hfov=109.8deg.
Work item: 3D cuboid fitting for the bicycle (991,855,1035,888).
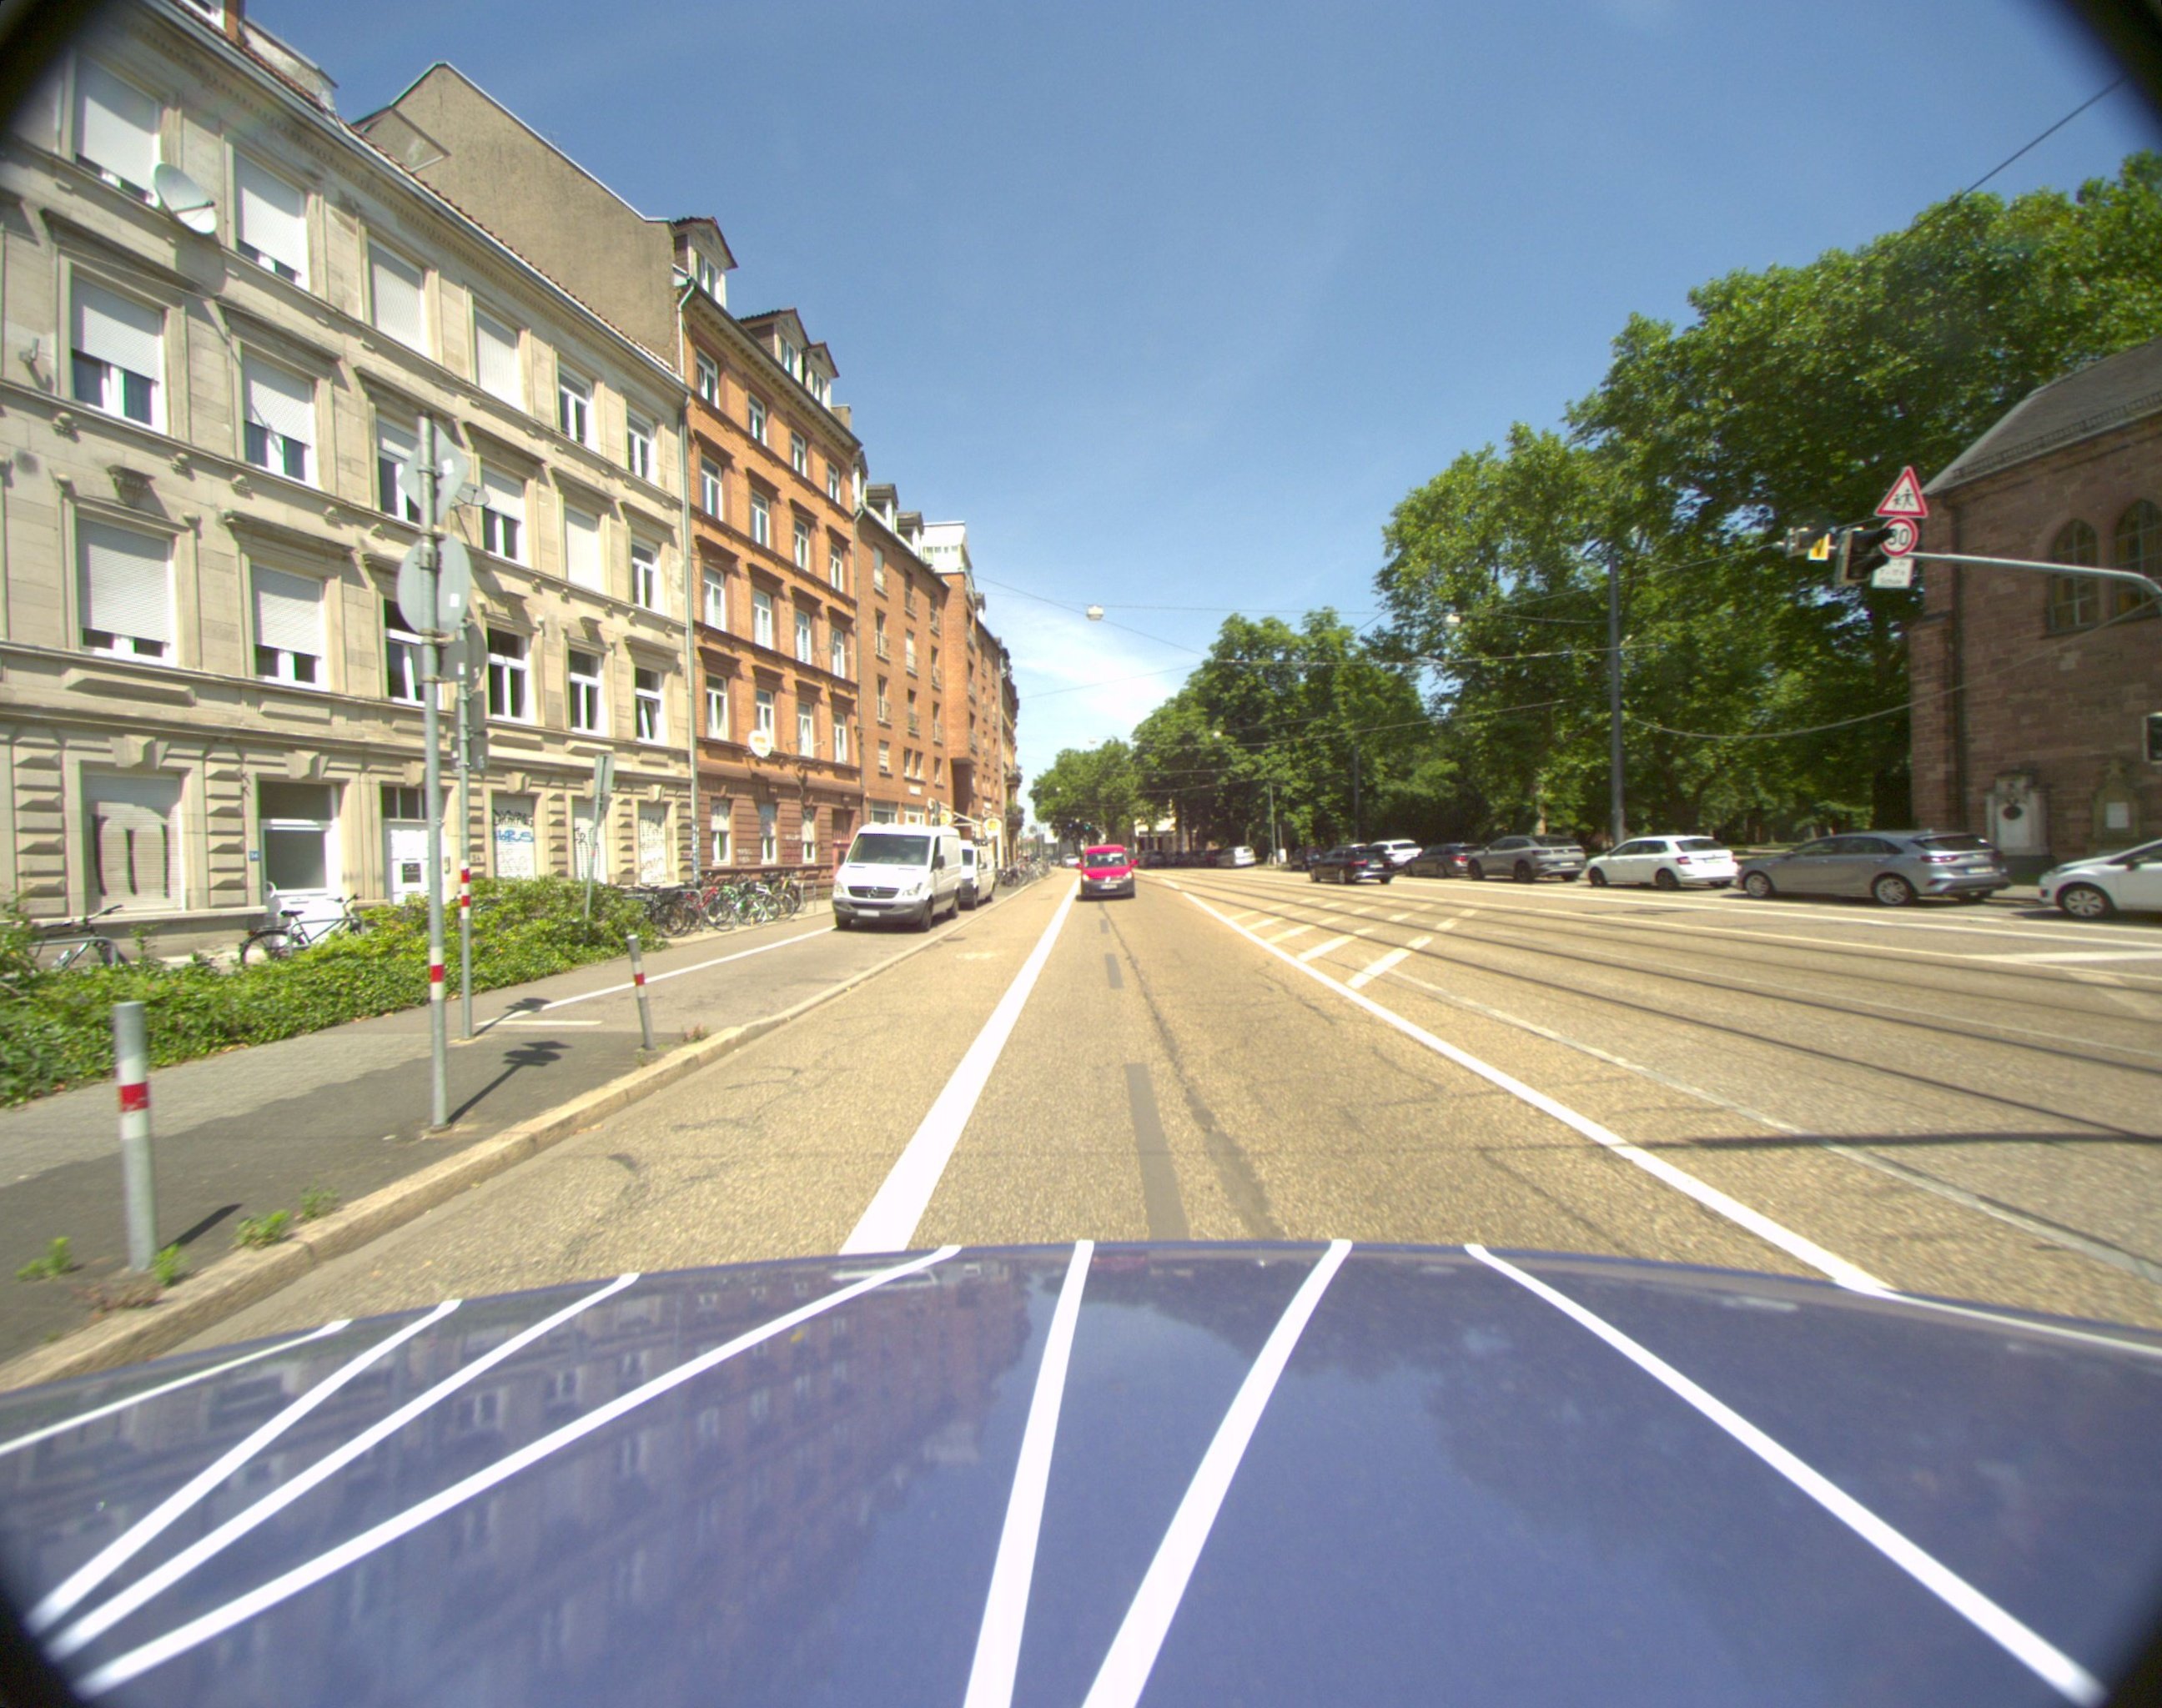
[{"bbox_3d":[-3.338,0.835,37.150,1.937,1.498,0.665,-3,1,13],"label":"bicycle"}]

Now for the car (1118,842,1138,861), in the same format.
[{"bbox_3d":[5.839,-0.295,95.646,1.822,2.284,3.759,-3,1,-6],"label":"car"}]

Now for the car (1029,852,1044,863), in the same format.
[{"bbox_3d":[-6.902,0.529,117.066,2.000,1.641,3.997,-3,1,-7],"label":"car"}]

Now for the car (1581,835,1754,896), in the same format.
[{"bbox_3d":[16.216,0.279,21.267,1.748,1.450,3.751,-3,1,-4],"label":"car"}]

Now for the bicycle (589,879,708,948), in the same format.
[{"bbox_3d":[-8.194,1.127,14.428,1.919,1.174,0.493,-3,1,2],"label":"bicycle"}]

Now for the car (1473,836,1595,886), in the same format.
[{"bbox_3d":[15.644,0.217,26.483,1.748,1.515,3.751,-3,1,-4],"label":"car"}]

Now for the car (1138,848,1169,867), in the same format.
[{"bbox_3d":[6.232,0.261,65.758,1.978,1.455,3.998,-3,1,-5],"label":"car"}]

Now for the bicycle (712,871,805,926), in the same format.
[{"bbox_3d":[-7.607,1.052,17.969,1.919,1.174,0.493,-3,1,2],"label":"bicycle"}]

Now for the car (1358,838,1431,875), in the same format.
[{"bbox_3d":[15.129,0.090,36.850,1.747,1.643,3.904,-3,1,-2],"label":"car"}]

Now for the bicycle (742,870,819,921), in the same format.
[{"bbox_3d":[-7.866,1.073,19.985,0.491,1.174,1.924,-2,1,31],"label":"bicycle"}]

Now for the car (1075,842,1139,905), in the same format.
[{"bbox_3d":[0.837,0.575,25.783,1.859,1.824,5.166,-3,1,1],"label":"car"}]

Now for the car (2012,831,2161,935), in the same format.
[{"bbox_3d":[16.670,0.417,10.853,1.663,1.450,4.057,-3,1,-3],"label":"car"}]

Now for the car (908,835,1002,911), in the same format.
[{"bbox_3d":[-3.864,0.511,24.280,1.998,2.123,5.272,1,1,2],"label":"car"}]

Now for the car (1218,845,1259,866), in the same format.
[{"bbox_3d":[12.330,0.103,59.647,1.978,1.554,3.997,-3,1,-6],"label":"car"}]

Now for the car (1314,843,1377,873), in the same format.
[{"bbox_3d":[14.708,0.187,42.545,1.748,1.489,4.186,-3,1,-4],"label":"car"}]

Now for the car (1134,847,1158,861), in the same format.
[{"bbox_3d":[7.428,-0.016,87.654,1.822,1.477,3.758,-3,1,-9],"label":"car"}]

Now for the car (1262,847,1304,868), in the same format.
[{"bbox_3d":[14.126,0.206,53.297,1.650,1.372,3.763,-3,1,-4],"label":"car"}]

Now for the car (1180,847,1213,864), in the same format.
[{"bbox_3d":[10.653,0.114,70.283,1.810,1.455,3.997,-3,1,-8],"label":"car"}]

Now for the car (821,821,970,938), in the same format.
[{"bbox_3d":[-4.116,0.477,17.915,1.998,2.317,5.407,1,1,2],"label":"car"}]

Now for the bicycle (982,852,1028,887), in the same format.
[{"bbox_3d":[-3.545,0.714,35.270,1.937,1.498,0.665,-3,1,13],"label":"bicycle"}]

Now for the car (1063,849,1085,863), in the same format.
[{"bbox_3d":[-0.789,0.183,84.730,1.810,1.455,3.997,-3,1,-8],"label":"car"}]

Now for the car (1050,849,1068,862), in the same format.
[{"bbox_3d":[-2.852,0.172,98.313,1.810,1.455,3.997,-3,1,-8],"label":"car"}]

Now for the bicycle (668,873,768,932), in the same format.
[{"bbox_3d":[-8.004,1.056,16.770,1.919,1.174,0.493,-3,1,2],"label":"bicycle"}]

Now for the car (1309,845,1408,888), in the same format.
[{"bbox_3d":[10.366,0.421,28.754,1.751,1.387,4.344,-3,1,-6],"label":"car"}]

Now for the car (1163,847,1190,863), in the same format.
[{"bbox_3d":[9.570,0.064,76.344,1.747,1.506,3.815,-3,1,-8],"label":"car"}]

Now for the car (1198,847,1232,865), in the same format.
[{"bbox_3d":[11.373,0.143,64.655,1.810,1.455,3.998,-3,1,-5],"label":"car"}]

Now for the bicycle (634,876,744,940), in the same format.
[{"bbox_3d":[-7.951,1.087,15.436,1.919,1.174,0.493,-3,1,2],"label":"bicycle"}]

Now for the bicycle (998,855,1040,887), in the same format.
[{"bbox_3d":[-3.157,0.845,38.538,1.937,1.498,0.665,-3,1,13],"label":"bicycle"}]

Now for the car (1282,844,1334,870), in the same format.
[{"bbox_3d":[14.248,0.147,47.902,1.748,1.489,4.186,-3,1,-4],"label":"car"}]

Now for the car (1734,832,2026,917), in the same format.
[{"bbox_3d":[16.337,0.356,15.887,1.663,1.450,4.056,-3,1,-4],"label":"car"}]

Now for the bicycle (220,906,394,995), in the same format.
[{"bbox_3d":[-11.031,1.342,10.925,0.456,1.016,1.770,-3,1,8],"label":"bicycle"}]

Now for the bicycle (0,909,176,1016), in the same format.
[{"bbox_3d":[-11.785,1.233,8.723,0.456,1.016,1.770,-3,1,8],"label":"bicycle"}]

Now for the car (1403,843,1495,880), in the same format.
[{"bbox_3d":[15.271,0.280,31.771,1.672,1.368,3.998,-3,1,-4],"label":"car"}]
